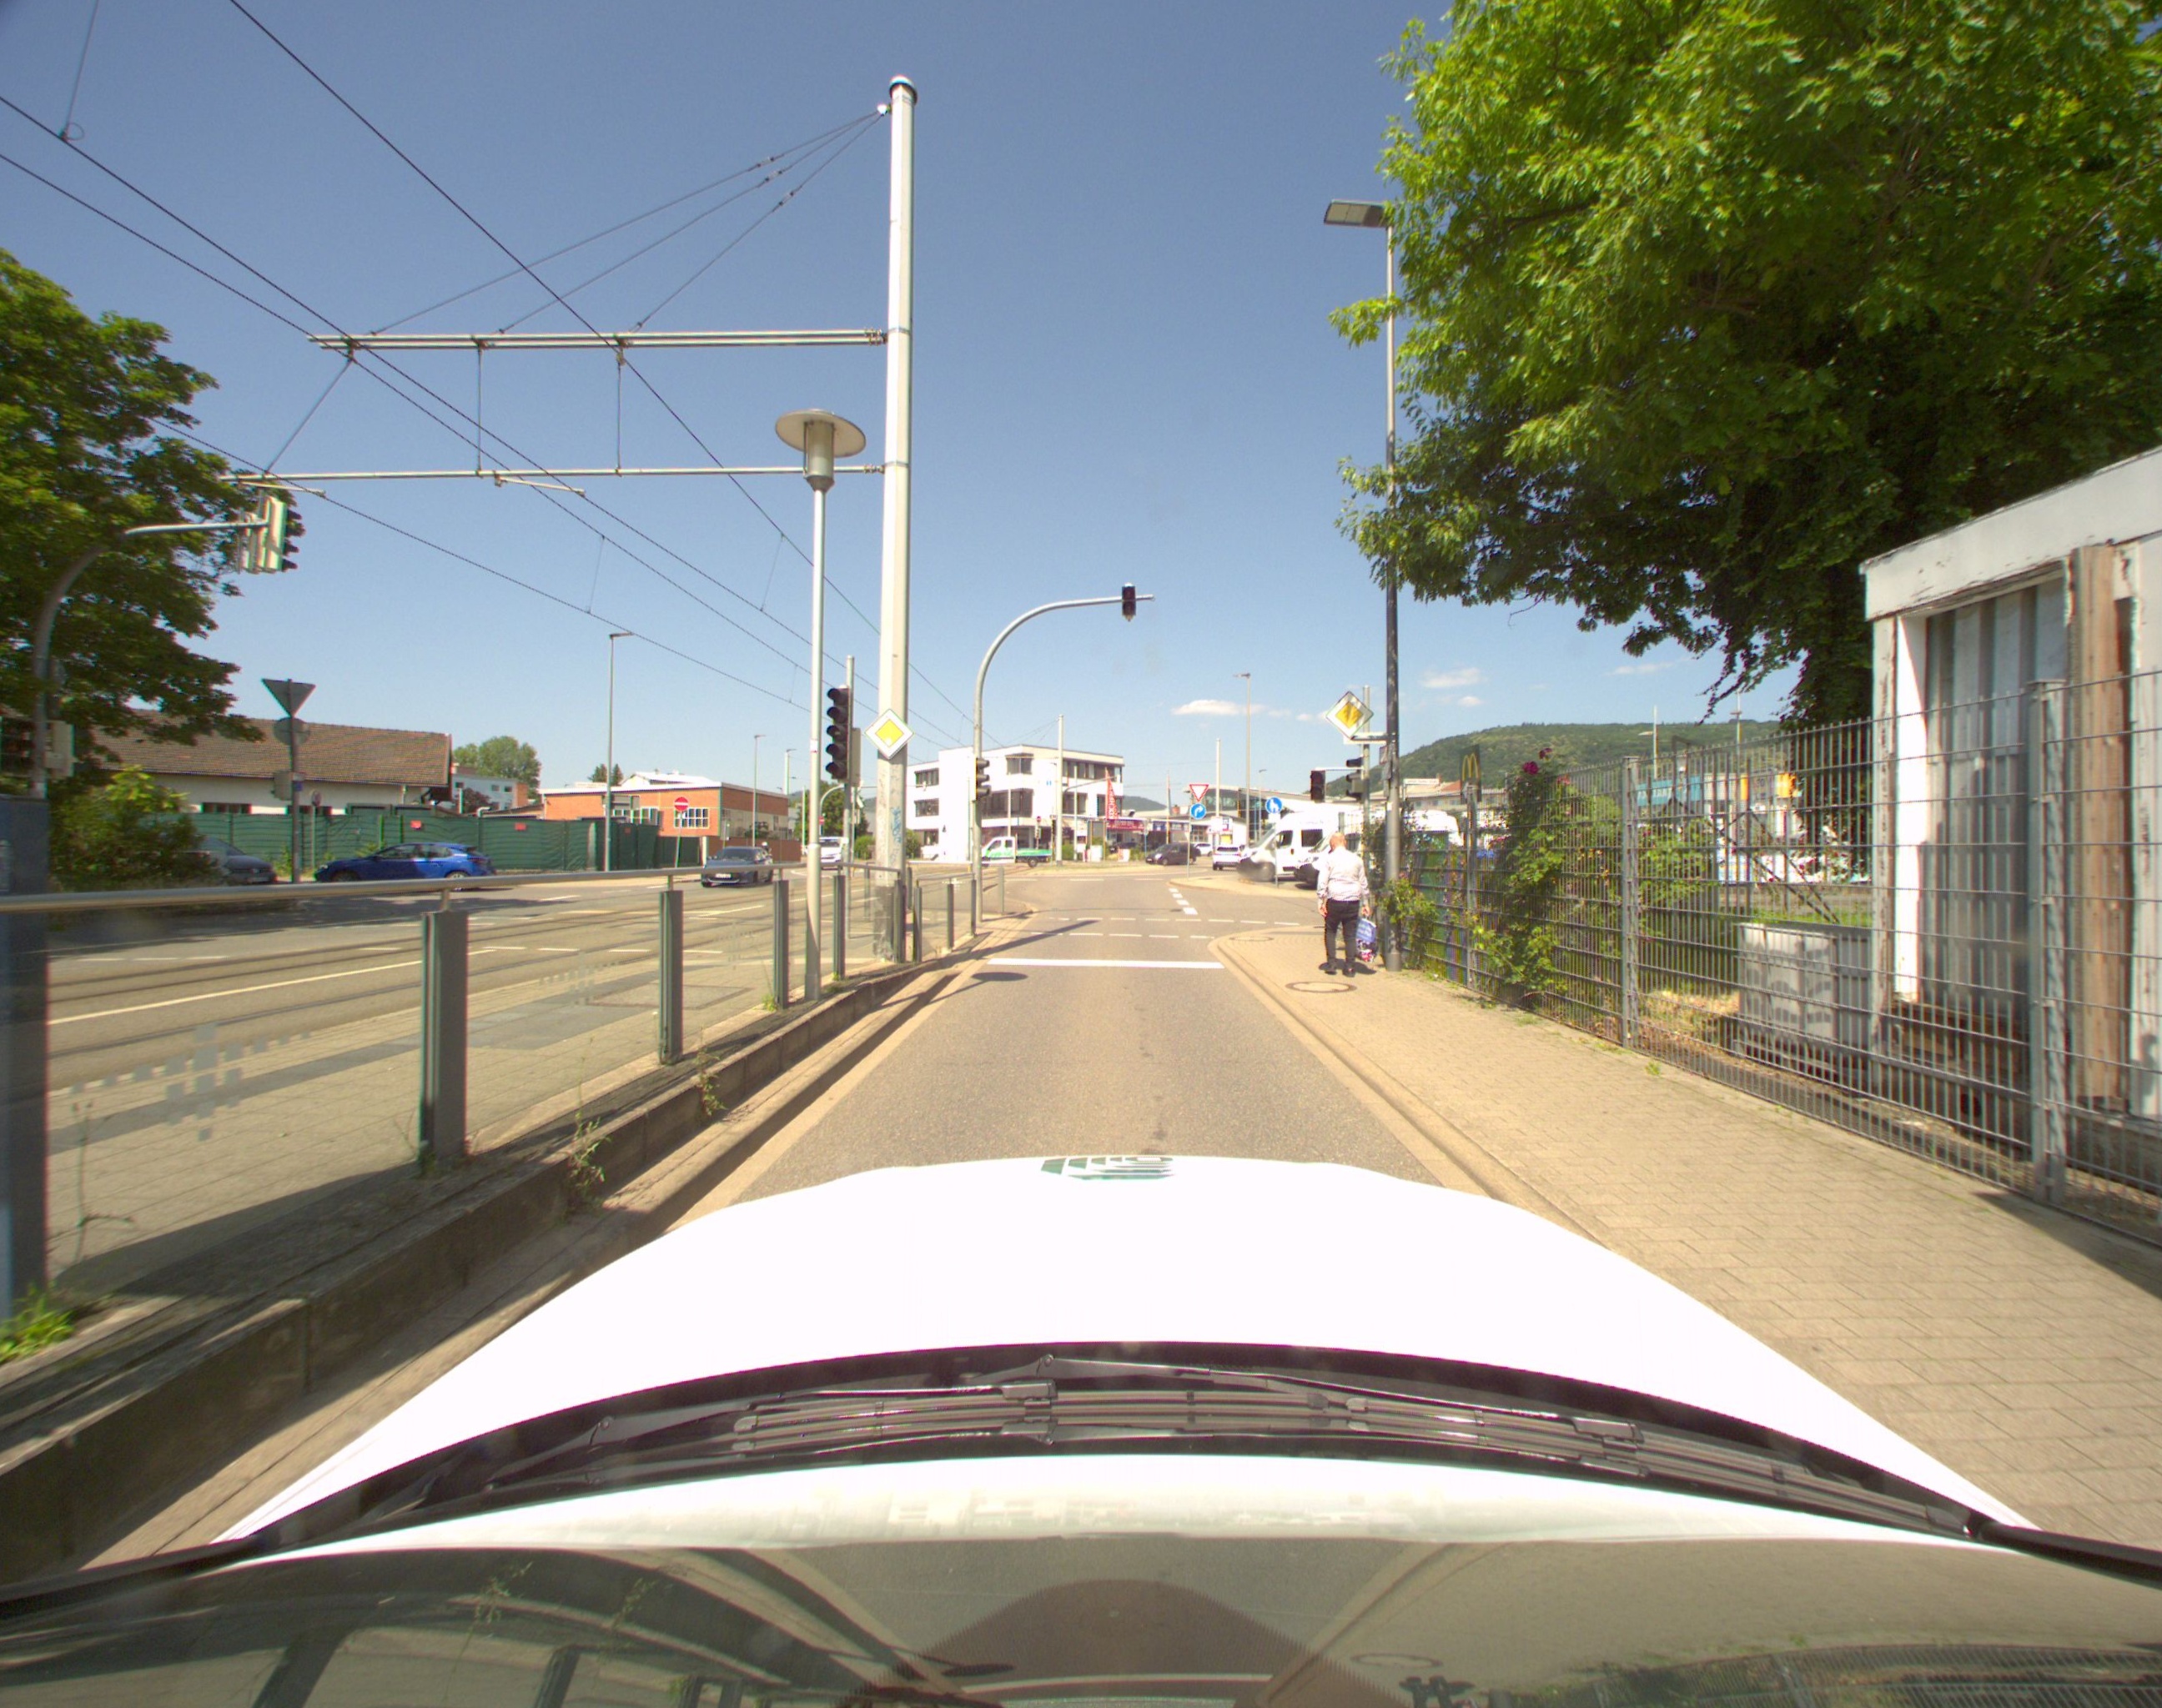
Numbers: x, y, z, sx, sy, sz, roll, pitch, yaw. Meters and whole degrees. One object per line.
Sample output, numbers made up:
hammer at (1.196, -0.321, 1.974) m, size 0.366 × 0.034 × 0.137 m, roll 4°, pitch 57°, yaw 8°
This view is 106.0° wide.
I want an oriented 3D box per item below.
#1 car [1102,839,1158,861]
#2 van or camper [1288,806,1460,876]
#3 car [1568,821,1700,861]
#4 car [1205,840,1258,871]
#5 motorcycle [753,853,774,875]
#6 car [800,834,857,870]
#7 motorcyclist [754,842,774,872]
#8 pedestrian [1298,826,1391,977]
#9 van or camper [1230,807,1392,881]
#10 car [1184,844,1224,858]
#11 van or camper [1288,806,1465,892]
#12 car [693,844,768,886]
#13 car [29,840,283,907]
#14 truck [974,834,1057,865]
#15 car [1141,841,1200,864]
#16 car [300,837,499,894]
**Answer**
car at (4.595, -0.354, 75.469) m, size 5.308 × 1.965 × 1.943 m, roll 0°, pitch 0°, yaw -41°
van or camper at (13.331, -0.572, 37.407) m, size 7.034 × 2.946 × 2.336 m, roll -1°, pitch -1°, yaw 2°
car at (29.157, -0.674, 43.119) m, size 5.422 × 2.013 × 2.142 m, roll 1°, pitch 0°, yaw 7°
car at (9.377, 0.084, 50.483) m, size 1.975 × 1.733 × 4.591 m, roll -3°, pitch -1°, yaw 27°
motorcycle at (-15.653, 0.476, 40.173) m, size 0.824 × 1.011 × 1.952 m, roll 1°, pitch 0°, yaw -17°
car at (-15.077, -0.119, 48.939) m, size 2.158 × 2.013 × 5.011 m, roll 1°, pitch 0°, yaw -4°
motorcyclist at (-15.674, 0.131, 40.253) m, size 0.837 × 1.475 × 0.957 m, roll 1°, pitch 0°, yaw -17°
pedestrian at (3.094, 0.538, 9.639) m, size 0.810 × 1.699 × 0.887 m, roll 0°, pitch 0°, yaw 0°
van or camper at (8.808, -0.384, 31.653) m, size 5.783 × 2.773 × 2.094 m, roll 0°, pitch 1°, yaw 4°
car at (13.872, -0.307, 91.762) m, size 1.863 × 1.589 × 4.956 m, roll -2°, pitch -2°, yaw 45°
van or camper at (10.251, -0.215, 28.652) m, size 5.478 × 2.813 × 2.052 m, roll 1°, pitch 2°, yaw 6°
car at (-12.798, 0.352, 30.017) m, size 1.910 × 1.442 × 4.571 m, roll 1°, pitch 1°, yaw -16°
car at (-22.961, 0.456, 20.337) m, size 4.163 × 1.583 × 1.934 m, roll 0°, pitch 0°, yaw 1°
truck at (-5.074, -0.349, 63.374) m, size 6.358 × 2.337 × 2.206 m, roll 0°, pitch 0°, yaw -5°
car at (7.228, -0.094, 65.586) m, size 4.419 × 1.818 × 1.972 m, roll 1°, pitch 0°, yaw -28°
car at (-19.781, 0.309, 23.897) m, size 4.171 × 1.537 × 1.790 m, roll 0°, pitch 0°, yaw -28°
